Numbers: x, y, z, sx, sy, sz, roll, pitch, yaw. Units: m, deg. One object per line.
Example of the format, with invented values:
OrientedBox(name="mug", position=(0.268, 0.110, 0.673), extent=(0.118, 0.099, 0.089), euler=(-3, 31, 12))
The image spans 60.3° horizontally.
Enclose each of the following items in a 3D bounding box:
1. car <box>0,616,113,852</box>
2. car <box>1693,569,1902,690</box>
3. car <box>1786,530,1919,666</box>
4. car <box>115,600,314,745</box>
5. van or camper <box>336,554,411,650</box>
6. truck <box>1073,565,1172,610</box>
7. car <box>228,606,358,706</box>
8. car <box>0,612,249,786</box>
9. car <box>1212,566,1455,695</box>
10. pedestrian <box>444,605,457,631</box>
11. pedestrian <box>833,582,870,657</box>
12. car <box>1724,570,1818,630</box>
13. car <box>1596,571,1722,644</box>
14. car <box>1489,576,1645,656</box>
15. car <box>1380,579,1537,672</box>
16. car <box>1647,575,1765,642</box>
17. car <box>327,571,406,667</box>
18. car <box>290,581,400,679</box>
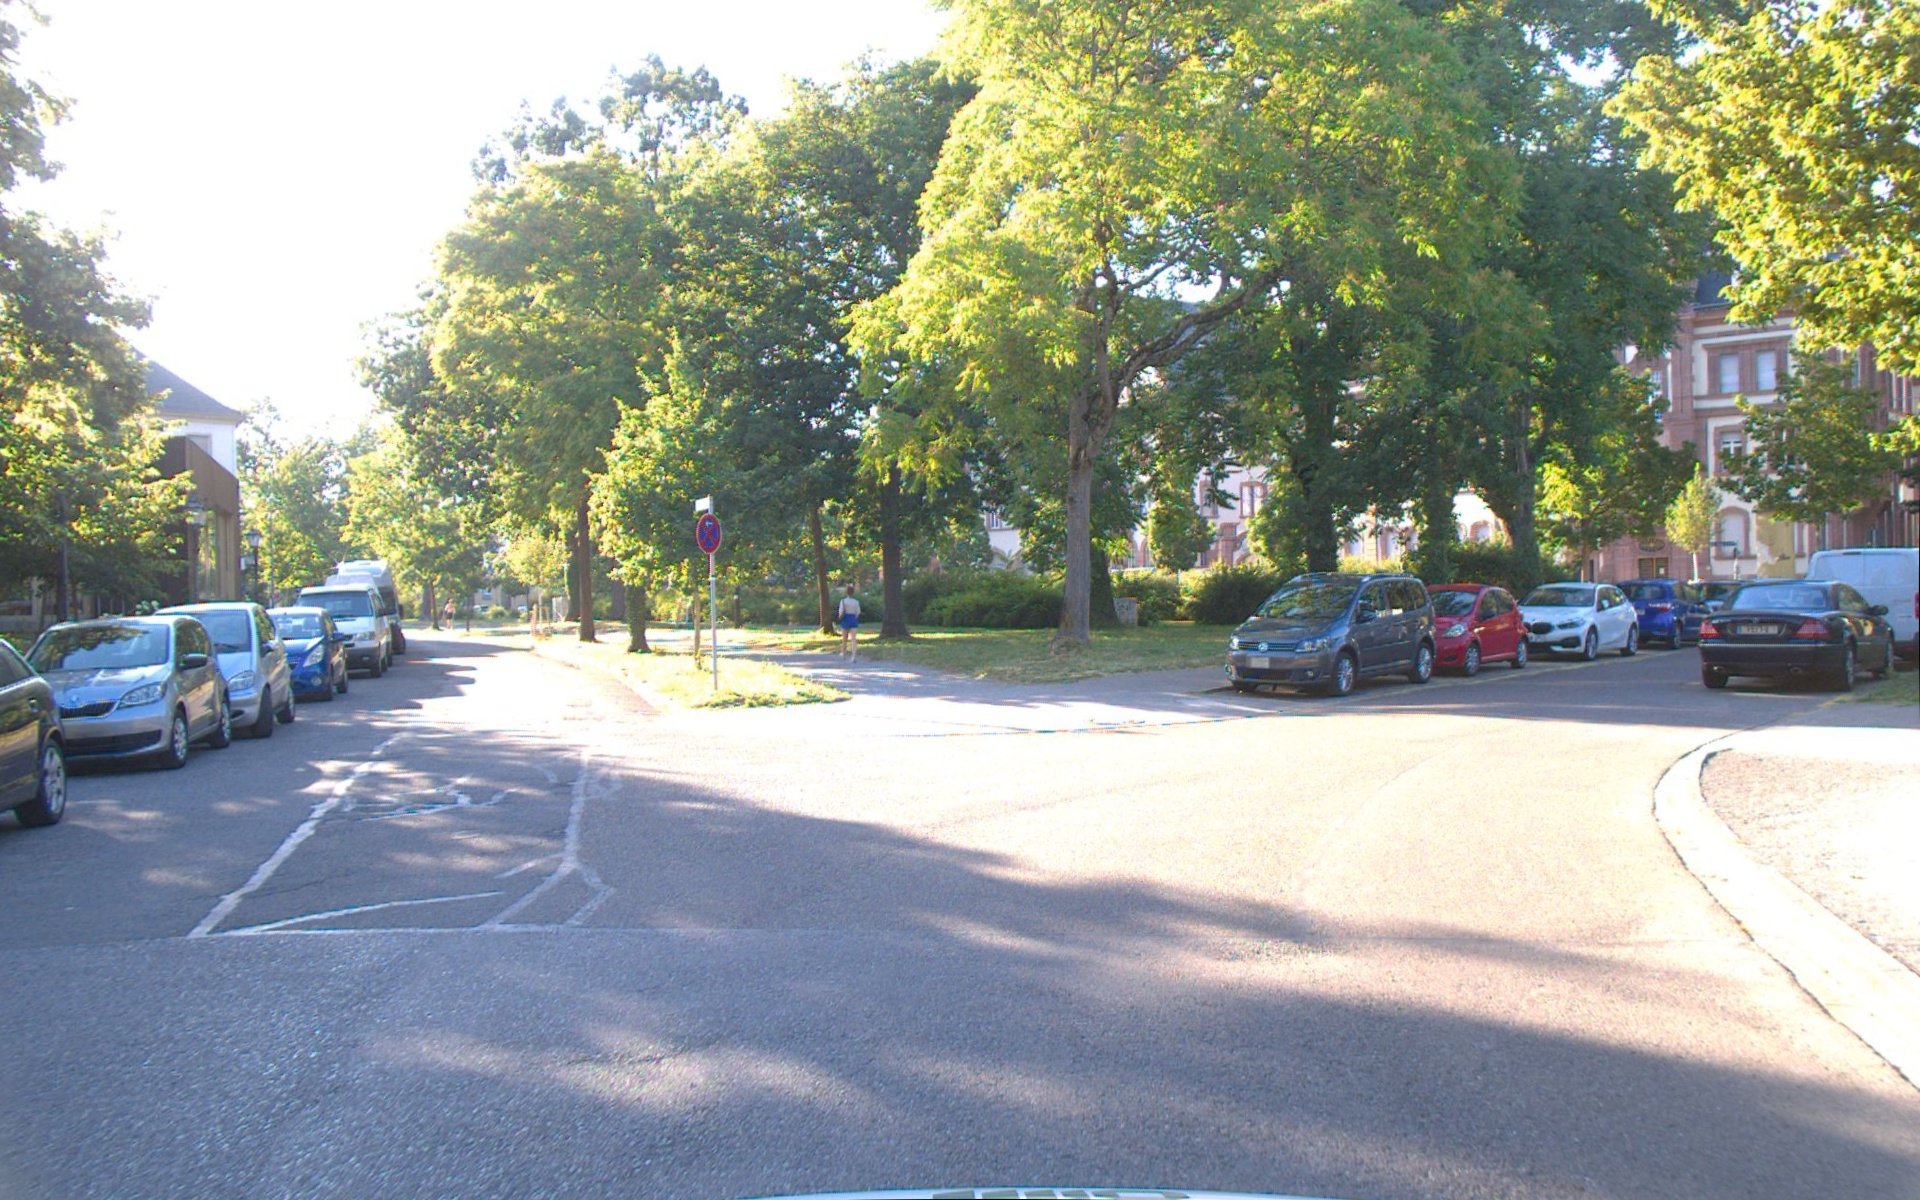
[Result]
OrientedBox(name="car", position=(-6.973, 0.903, 10.478), extent=(1.794, 1.440, 4.478), euler=(-3, 1, -14))
OrientedBox(name="car", position=(11.705, 0.336, 22.934), extent=(1.736, 1.493, 4.845), euler=(-1, 0, 37))
OrientedBox(name="car", position=(15.379, -0.059, 27.622), extent=(1.921, 2.049, 5.132), euler=(-1, 0, 37))
OrientedBox(name="car", position=(-9.183, 0.816, 20.647), extent=(1.676, 1.606, 3.681), euler=(-1, 0, -15))
OrientedBox(name="van or camper", position=(-19.372, 0.051, 54.837), extent=(2.057, 2.958, 6.300), euler=(-1, 0, -18))
OrientedBox(name="truck", position=(11.619, -0.884, 119.009), extent=(2.583, 3.082, 7.909), euler=(-1, 0, -35))
OrientedBox(name="car", position=(-11.200, 0.887, 27.975), extent=(1.589, 1.527, 3.681), euler=(-1, 0, -15))
OrientedBox(name="car", position=(-8.443, 0.907, 16.817), extent=(1.585, 1.465, 3.592), euler=(-3, 1, -14))
OrientedBox(name="car", position=(5.596, 0.366, 24.460), extent=(1.774, 1.705, 4.299), euler=(1, 2, 39))
OrientedBox(name="pedestrian", position=(-31.509, 1.118, 102.318), extent=(0.626, 1.625, 0.666), euler=(-1, 0, -25))
OrientedBox(name="pedestrian", position=(-2.371, 0.419, 36.048), extent=(0.758, 1.602, 0.767), euler=(-2, 0, -6))
OrientedBox(name="car", position=(22.098, -0.019, 45.005), extent=(1.566, 1.553, 3.848), euler=(-1, 0, 38))
OrientedBox(name="car", position=(15.772, 0.132, 37.238), extent=(1.613, 1.522, 3.686), euler=(1, 2, 40))
OrientedBox(name="car", position=(11.959, 0.270, 32.464), extent=(1.664, 1.430, 3.954), euler=(1, 2, 39))
OrientedBox(name="car", position=(8.533, 0.380, 28.182), extent=(1.366, 1.448, 3.409), euler=(1, 2, 39))
OrientedBox(name="car", position=(18.268, 0.188, 40.425), extent=(1.529, 1.520, 3.919), euler=(-1, 0, 42))
OrientedBox(name="car", position=(-15.862, 0.473, 44.115), extent=(1.824, 2.397, 5.154), euler=(-1, 0, -21))
OrientedBox(name="car", position=(-13.535, 0.615, 36.652), extent=(1.821, 1.980, 4.820), euler=(-1, 0, -15))
